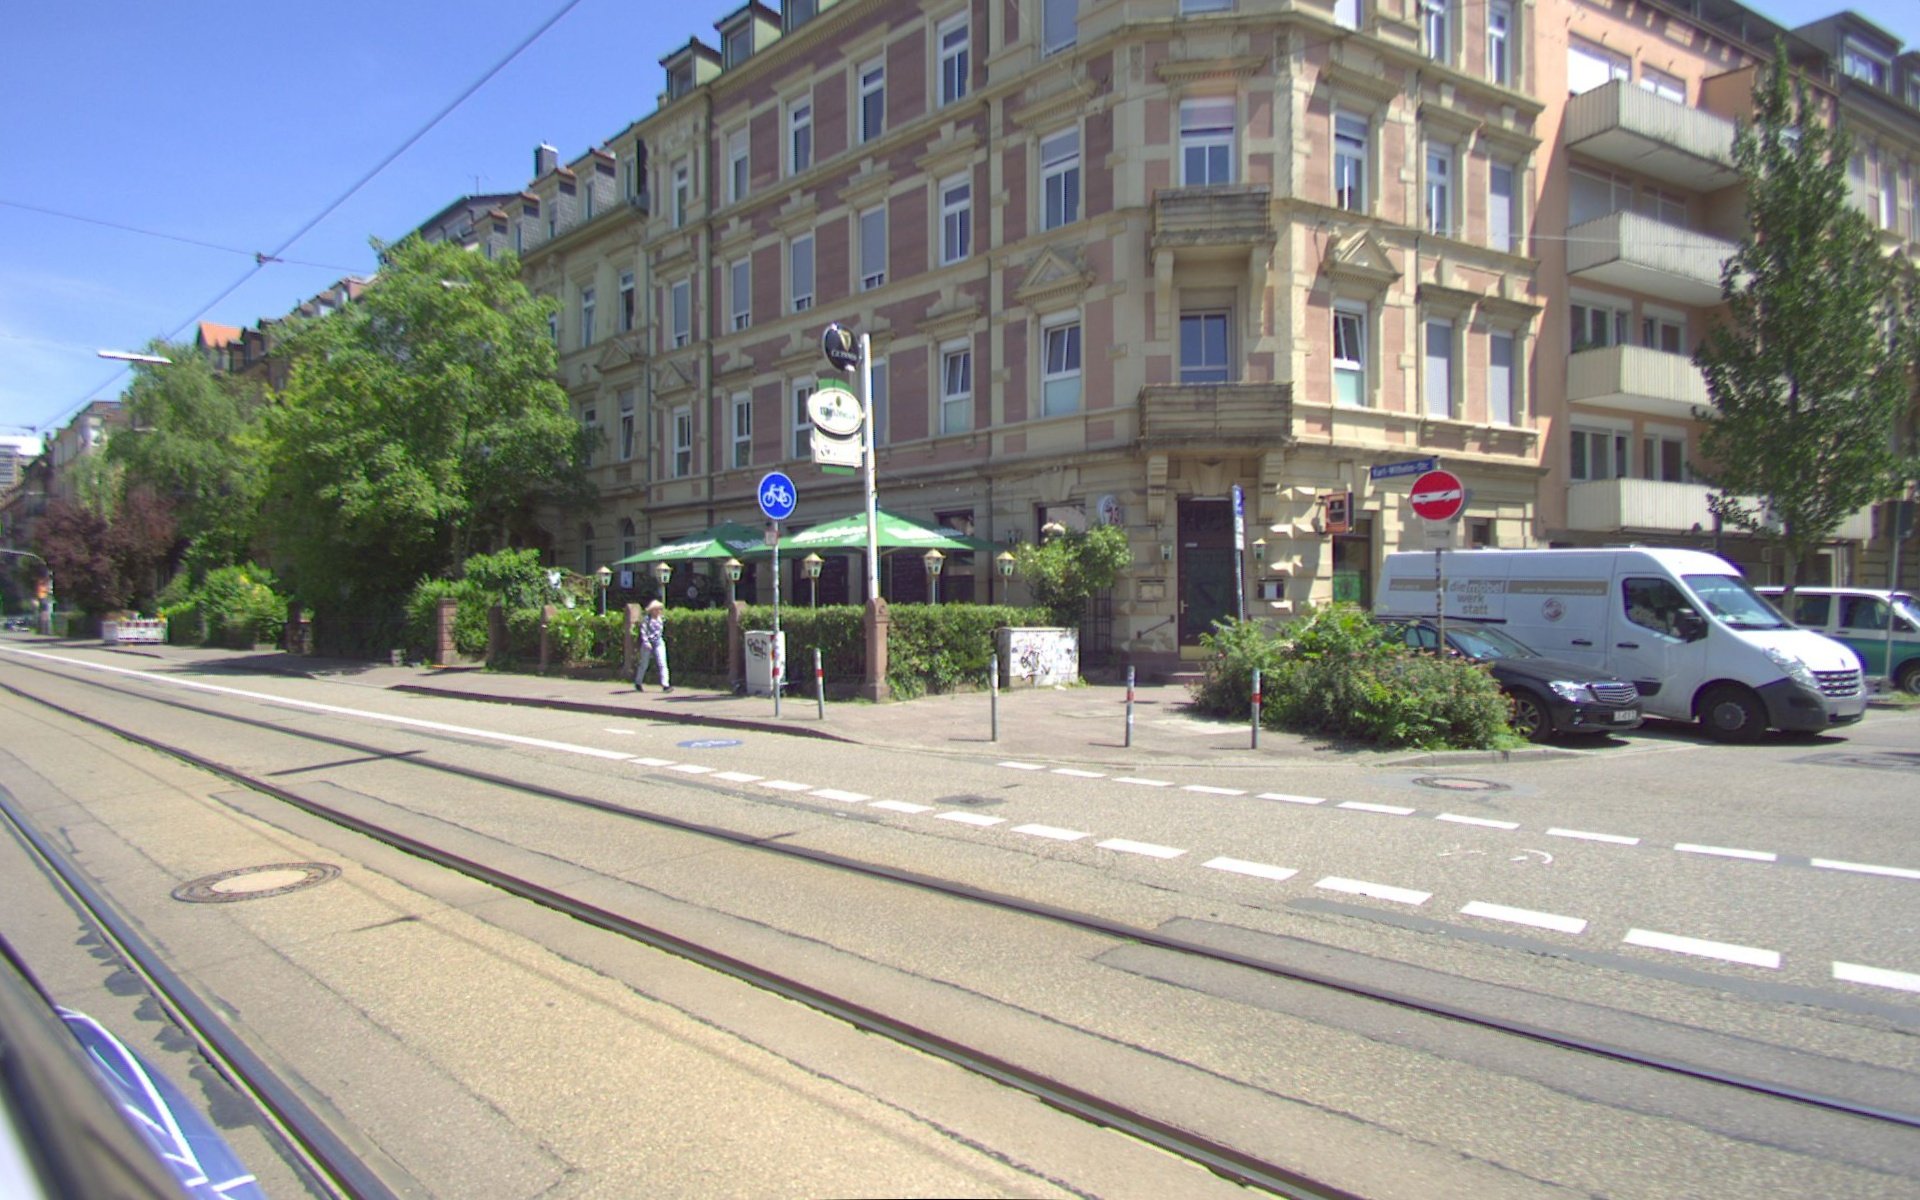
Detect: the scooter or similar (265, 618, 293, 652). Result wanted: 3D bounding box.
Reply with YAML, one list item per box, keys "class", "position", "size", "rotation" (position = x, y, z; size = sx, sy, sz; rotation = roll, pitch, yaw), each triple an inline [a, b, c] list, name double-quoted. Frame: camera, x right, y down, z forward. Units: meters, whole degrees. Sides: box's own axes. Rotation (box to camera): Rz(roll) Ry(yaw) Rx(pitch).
- class: "scooter or similar"
  position: [-23.321, 1.189, 34.666]
  size: [0.694, 1.166, 0.609]
  rotation: [-1, -1, 38]

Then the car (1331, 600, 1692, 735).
- class: "car"
  position: [6.868, 0.743, 12.980]
  size: [1.568, 1.449, 3.768]
  rotation: [0, 0, -33]

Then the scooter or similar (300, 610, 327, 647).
- class: "scooter or similar"
  position: [-24.584, 1.076, 38.491]
  size: [0.693, 1.410, 0.610]
  rotation: [-1, 0, 31]

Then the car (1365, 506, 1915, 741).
- class: "car"
  position: [9.094, 0.279, 14.429]
  size: [2.089, 2.609, 6.208]
  rotation: [0, 0, -29]

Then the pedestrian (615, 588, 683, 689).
- class: "pedestrian"
  position: [-5.259, 0.634, 17.114]
  size: [0.940, 1.654, 0.732]
  rotation: [-1, -1, 44]

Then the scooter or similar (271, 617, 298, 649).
- class: "scooter or similar"
  position: [-24.984, 1.206, 37.433]
  size: [0.693, 1.166, 0.610]
  rotation: [-1, 0, 31]

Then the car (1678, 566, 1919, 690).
- class: "car"
  position: [16.592, 0.477, 18.715]
  size: [2.089, 2.105, 4.962]
  rotation: [0, 0, -29]

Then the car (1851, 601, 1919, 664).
- class: "car"
  position: [22.378, 0.737, 22.152]
  size: [1.621, 1.383, 4.013]
  rotation: [0, 1, -24]
